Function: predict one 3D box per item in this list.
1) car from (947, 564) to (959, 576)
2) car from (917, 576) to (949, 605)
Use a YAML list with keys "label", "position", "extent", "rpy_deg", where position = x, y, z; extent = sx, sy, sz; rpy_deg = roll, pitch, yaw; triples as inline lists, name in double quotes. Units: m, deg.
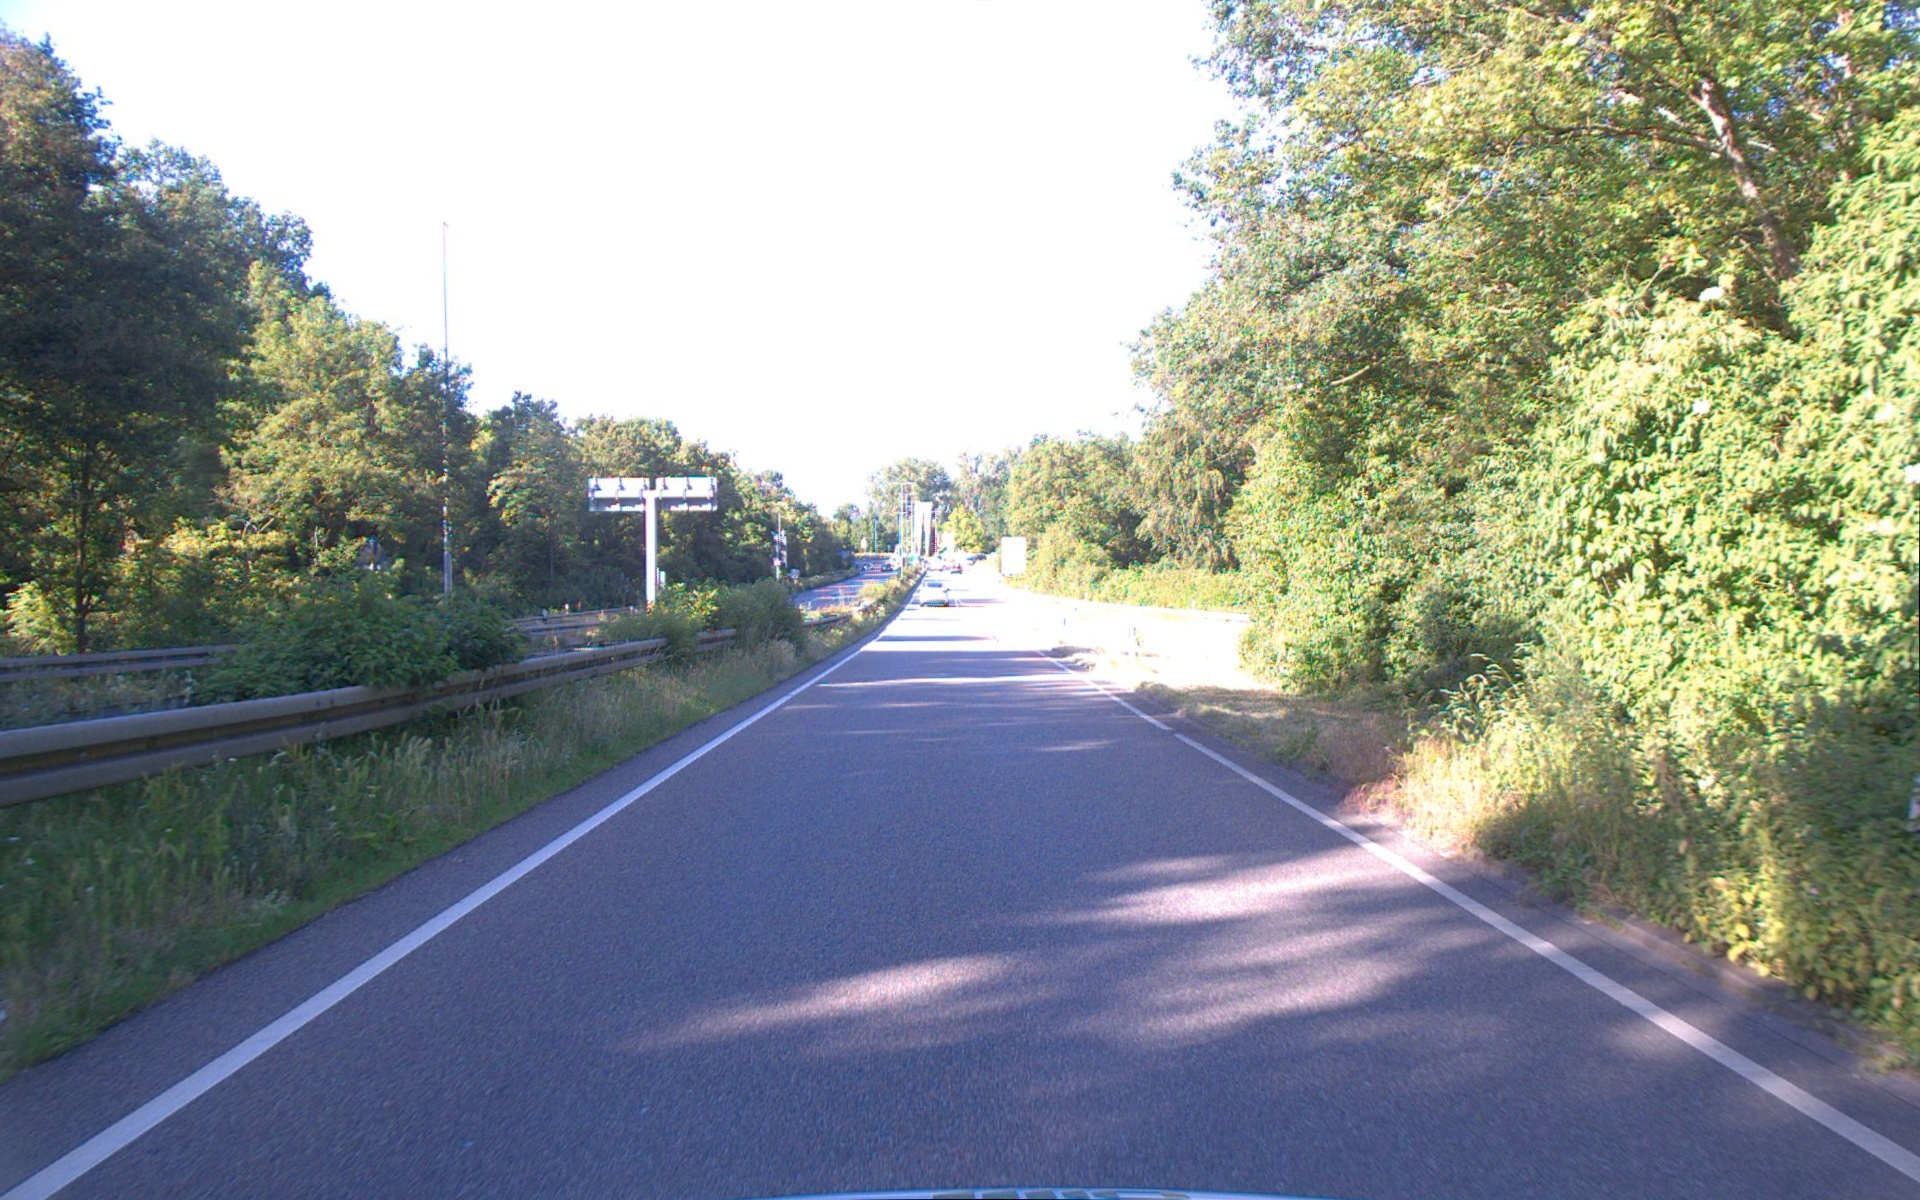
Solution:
- label: "car"
  position: [-1.070, -4.624, 255.038]
  extent: [1.761, 1.861, 3.417]
  rpy_deg: [2, 0, 1]
- label: "car"
  position: [-1.820, -0.660, 109.951]
  extent: [1.847, 1.847, 3.997]
  rpy_deg: [1, 1, -4]
